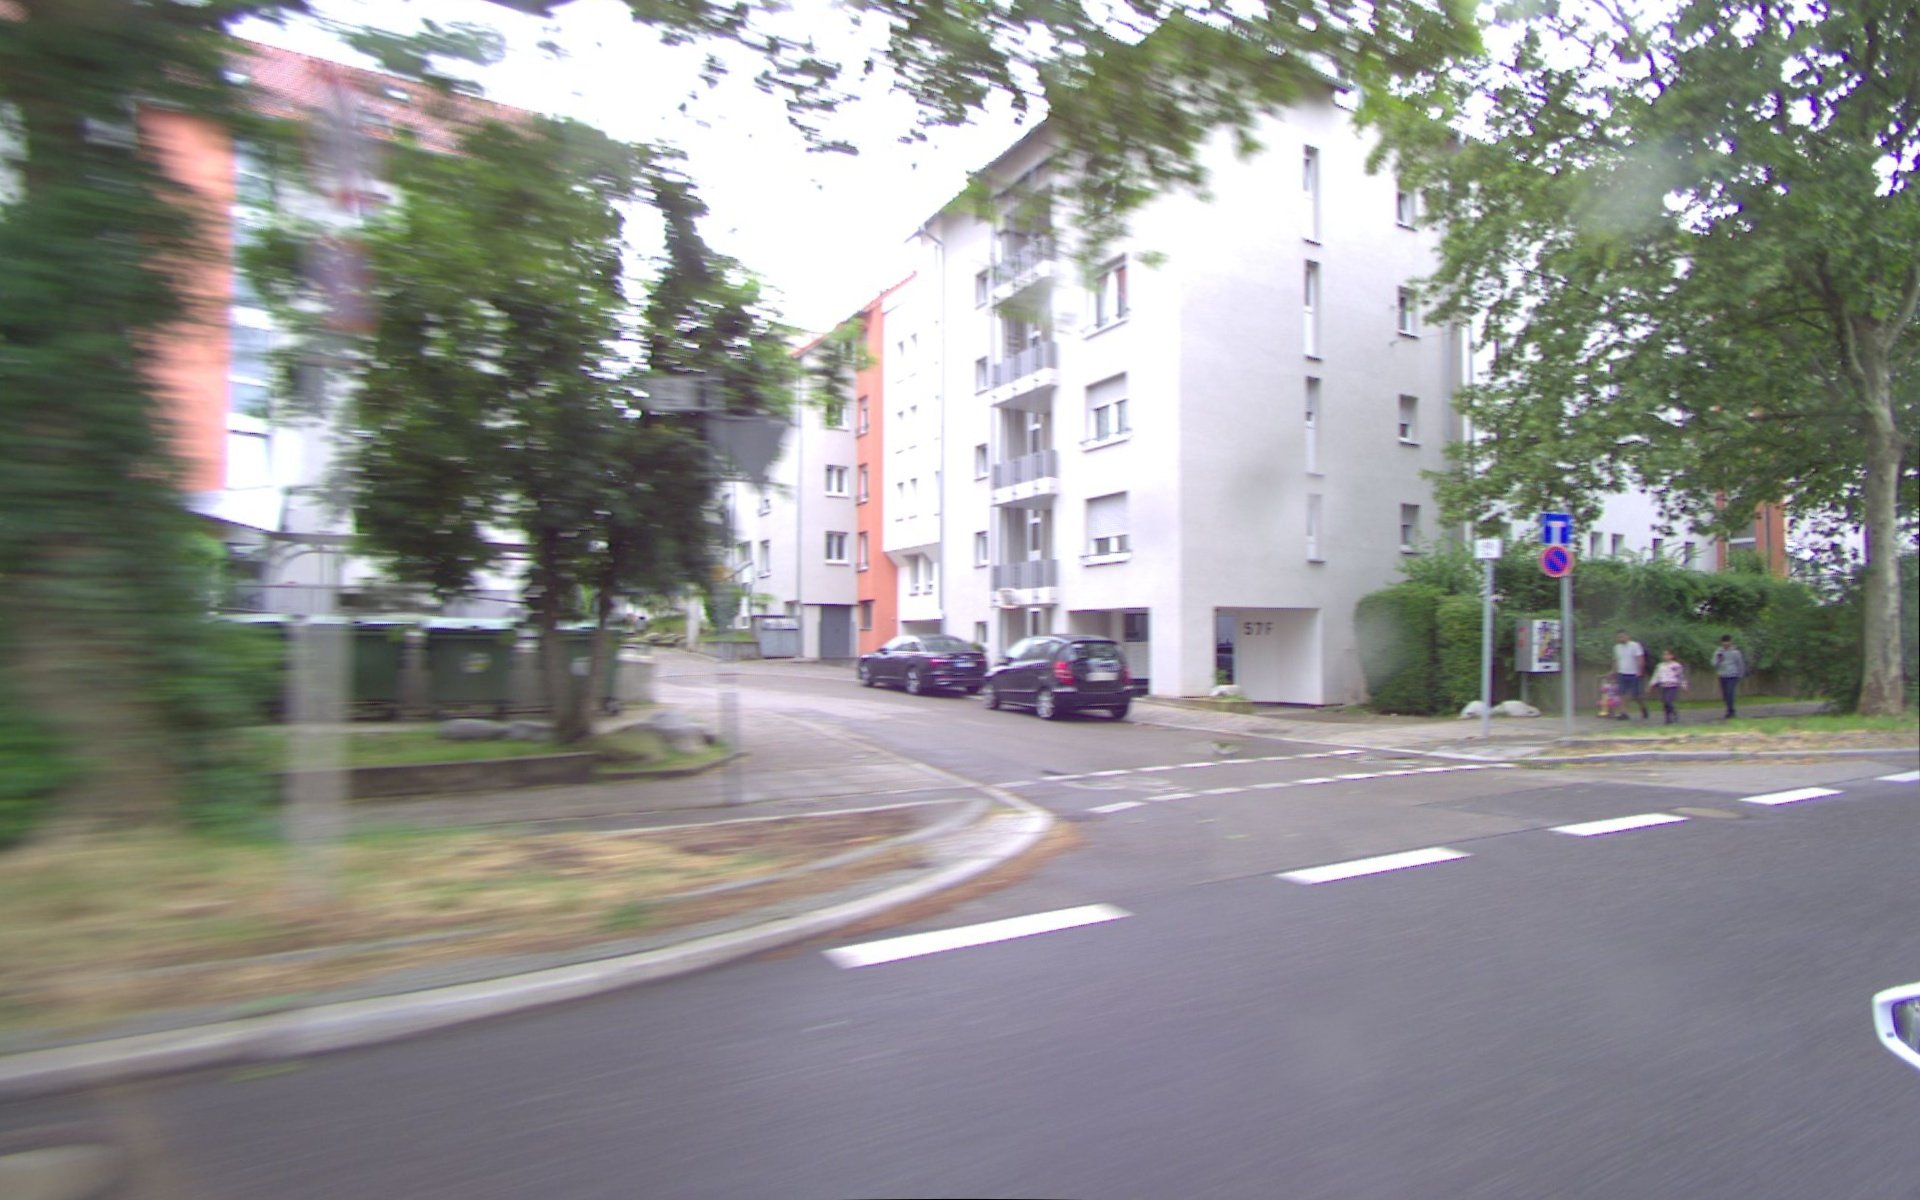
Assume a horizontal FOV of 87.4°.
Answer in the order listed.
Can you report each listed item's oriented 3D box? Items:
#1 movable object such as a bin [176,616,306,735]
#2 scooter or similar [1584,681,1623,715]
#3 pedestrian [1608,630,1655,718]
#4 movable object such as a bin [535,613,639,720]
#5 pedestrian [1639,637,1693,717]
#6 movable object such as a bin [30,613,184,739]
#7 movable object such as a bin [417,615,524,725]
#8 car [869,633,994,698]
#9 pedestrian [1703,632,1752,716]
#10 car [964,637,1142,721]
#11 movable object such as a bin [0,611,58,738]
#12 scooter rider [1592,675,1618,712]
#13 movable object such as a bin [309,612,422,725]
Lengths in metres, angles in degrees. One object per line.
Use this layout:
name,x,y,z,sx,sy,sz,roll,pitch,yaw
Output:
movable object such as a bin,-9.529,0.968,13.387,1.286,1.406,1.155,1,3,-31
scooter or similar,12.580,1.903,19.632,1.050,0.603,0.368,2,-3,-43
pedestrian,12.836,1.401,19.196,0.584,1.652,0.537,1,-2,-32
movable object such as a bin,-5.760,0.998,15.492,1.286,1.483,1.155,1,3,-31
pedestrian,12.748,1.374,18.147,0.584,1.415,0.592,1,-2,-32
movable object such as a bin,-10.696,0.921,12.672,1.286,1.406,1.155,1,3,-31
movable object such as a bin,-7.150,0.980,14.646,1.286,1.434,1.155,1,3,-31
car,-0.819,1.606,25.622,1.880,1.496,3.978,1,-2,-23
pedestrian,15.435,1.484,20.211,0.584,1.652,0.592,1,-2,-32
car,1.735,1.489,20.081,1.880,1.496,3.978,1,-2,-23
movable object such as a bin,-11.769,0.874,12.031,1.212,1.406,1.155,1,3,-31
scooter rider,12.622,1.829,19.656,0.391,0.693,0.325,2,-3,-43
movable object such as a bin,-8.308,0.921,14.069,1.286,1.406,1.155,1,3,-31
